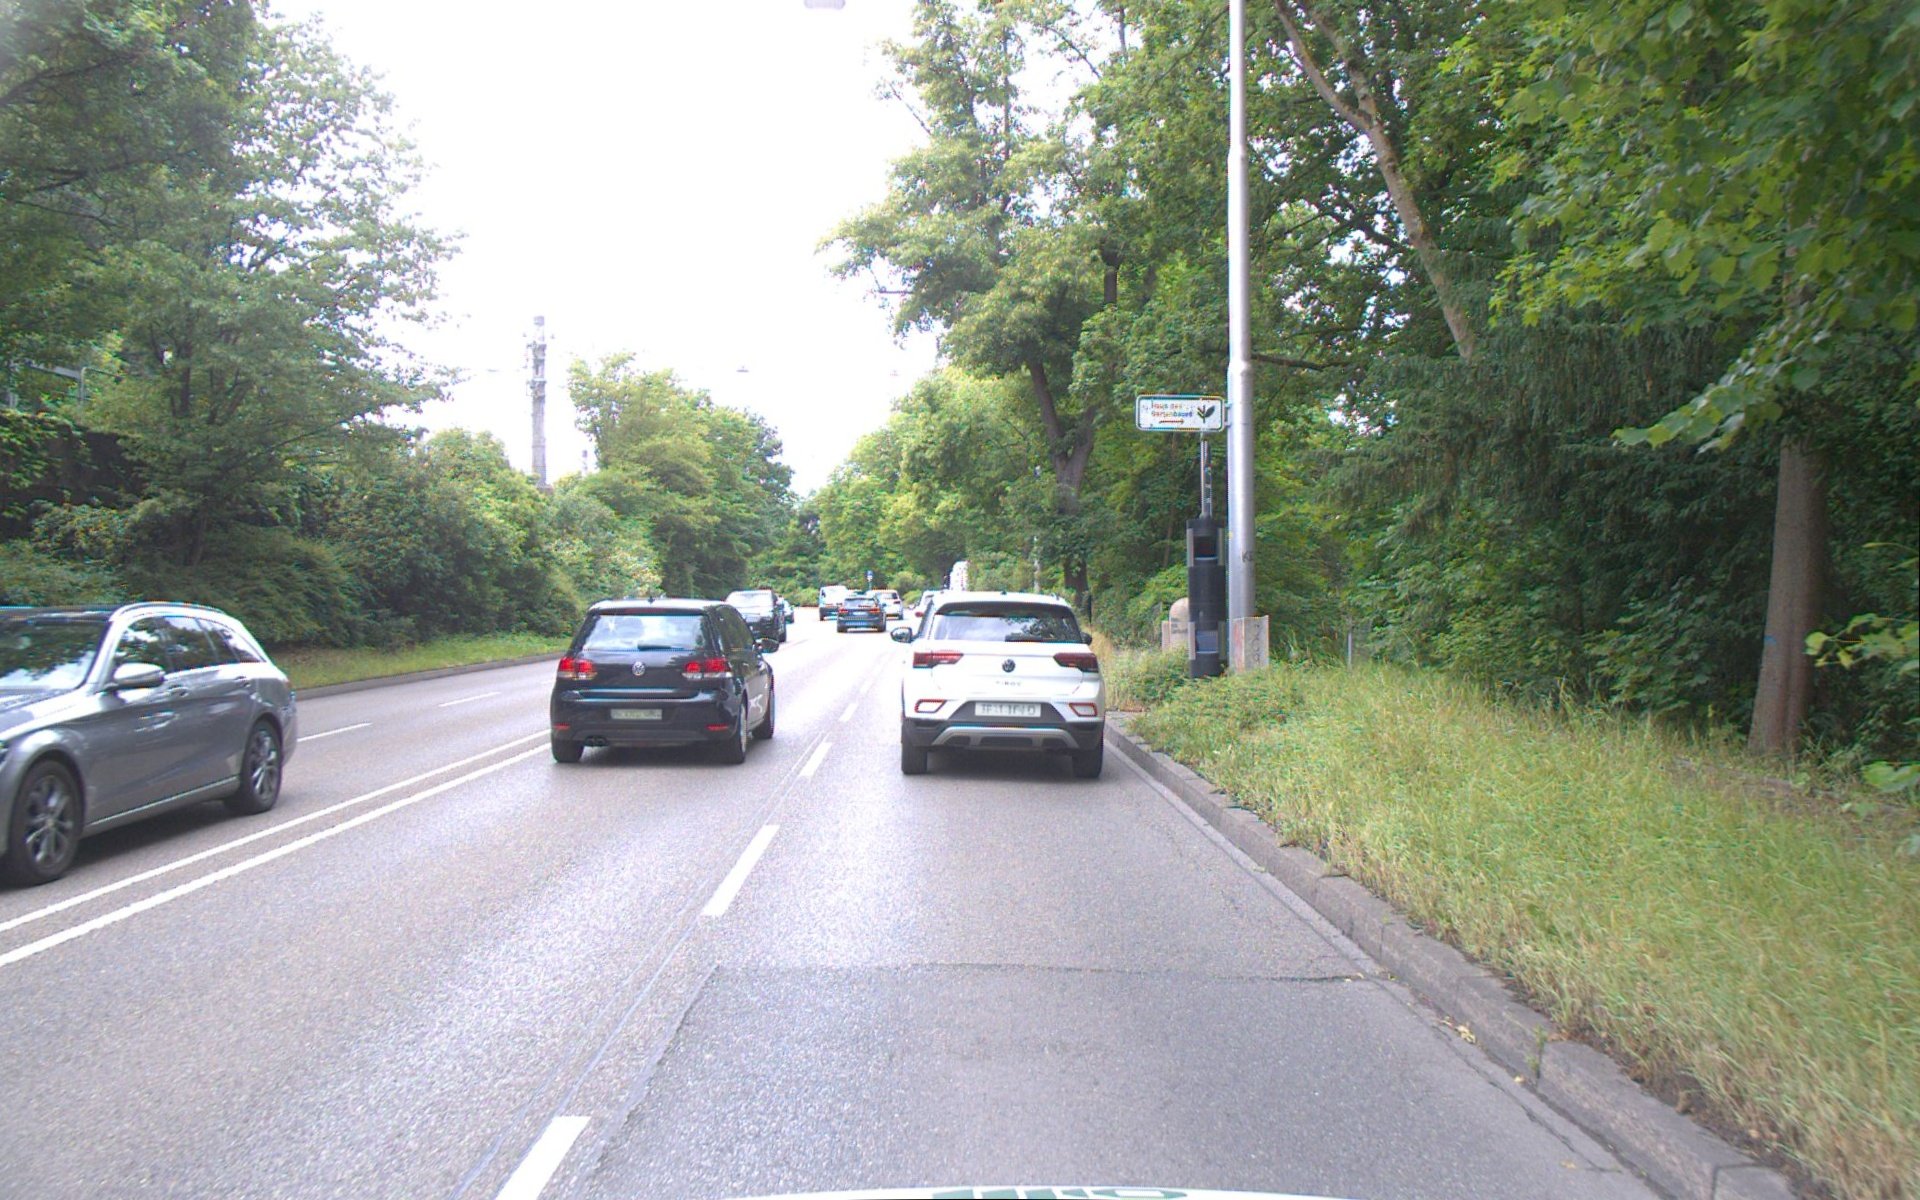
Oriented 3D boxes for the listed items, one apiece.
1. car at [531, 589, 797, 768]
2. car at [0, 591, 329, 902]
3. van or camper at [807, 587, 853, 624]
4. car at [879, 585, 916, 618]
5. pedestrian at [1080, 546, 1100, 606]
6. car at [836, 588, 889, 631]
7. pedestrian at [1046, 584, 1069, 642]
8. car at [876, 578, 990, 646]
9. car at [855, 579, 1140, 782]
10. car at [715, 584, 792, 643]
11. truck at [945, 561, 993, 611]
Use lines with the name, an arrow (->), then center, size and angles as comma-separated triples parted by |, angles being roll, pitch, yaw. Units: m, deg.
car -> -2.715, 0.670, 16.089 | 1.910, 1.492, 3.999 | 1, 0, -1
car -> -5.557, 0.736, 9.993 | 1.802, 1.491, 4.465 | -2, 0, -1
van or camper -> -7.861, 0.343, 99.773 | 1.959, 2.048, 5.351 | -3, 0, -12
car -> -3.222, 0.075, 85.760 | 1.784, 1.651, 3.999 | 1, 0, -1
pedestrian -> 3.941, -0.721, 50.005 | 0.509, 1.784, 0.524 | 1, 0, -4
car -> -3.862, 0.380, 66.105 | 1.953, 1.620, 3.999 | 1, 0, -1
pedestrian -> 2.939, 0.402, 49.727 | 0.597, 1.727, 0.548 | 1, 0, -4
car -> -0.813, 0.305, 46.628 | 1.826, 1.732, 3.973 | -3, 2, -22
car -> 0.190, 0.658, 15.337 | 1.964, 1.624, 3.992 | 1, 0, -9
car -> -6.316, 0.456, 51.055 | 1.773, 1.691, 4.829 | -1, -1, -1
truck -> 0.557, -0.902, 111.198 | 2.434, 3.237, 7.219 | 1, 0, -6
